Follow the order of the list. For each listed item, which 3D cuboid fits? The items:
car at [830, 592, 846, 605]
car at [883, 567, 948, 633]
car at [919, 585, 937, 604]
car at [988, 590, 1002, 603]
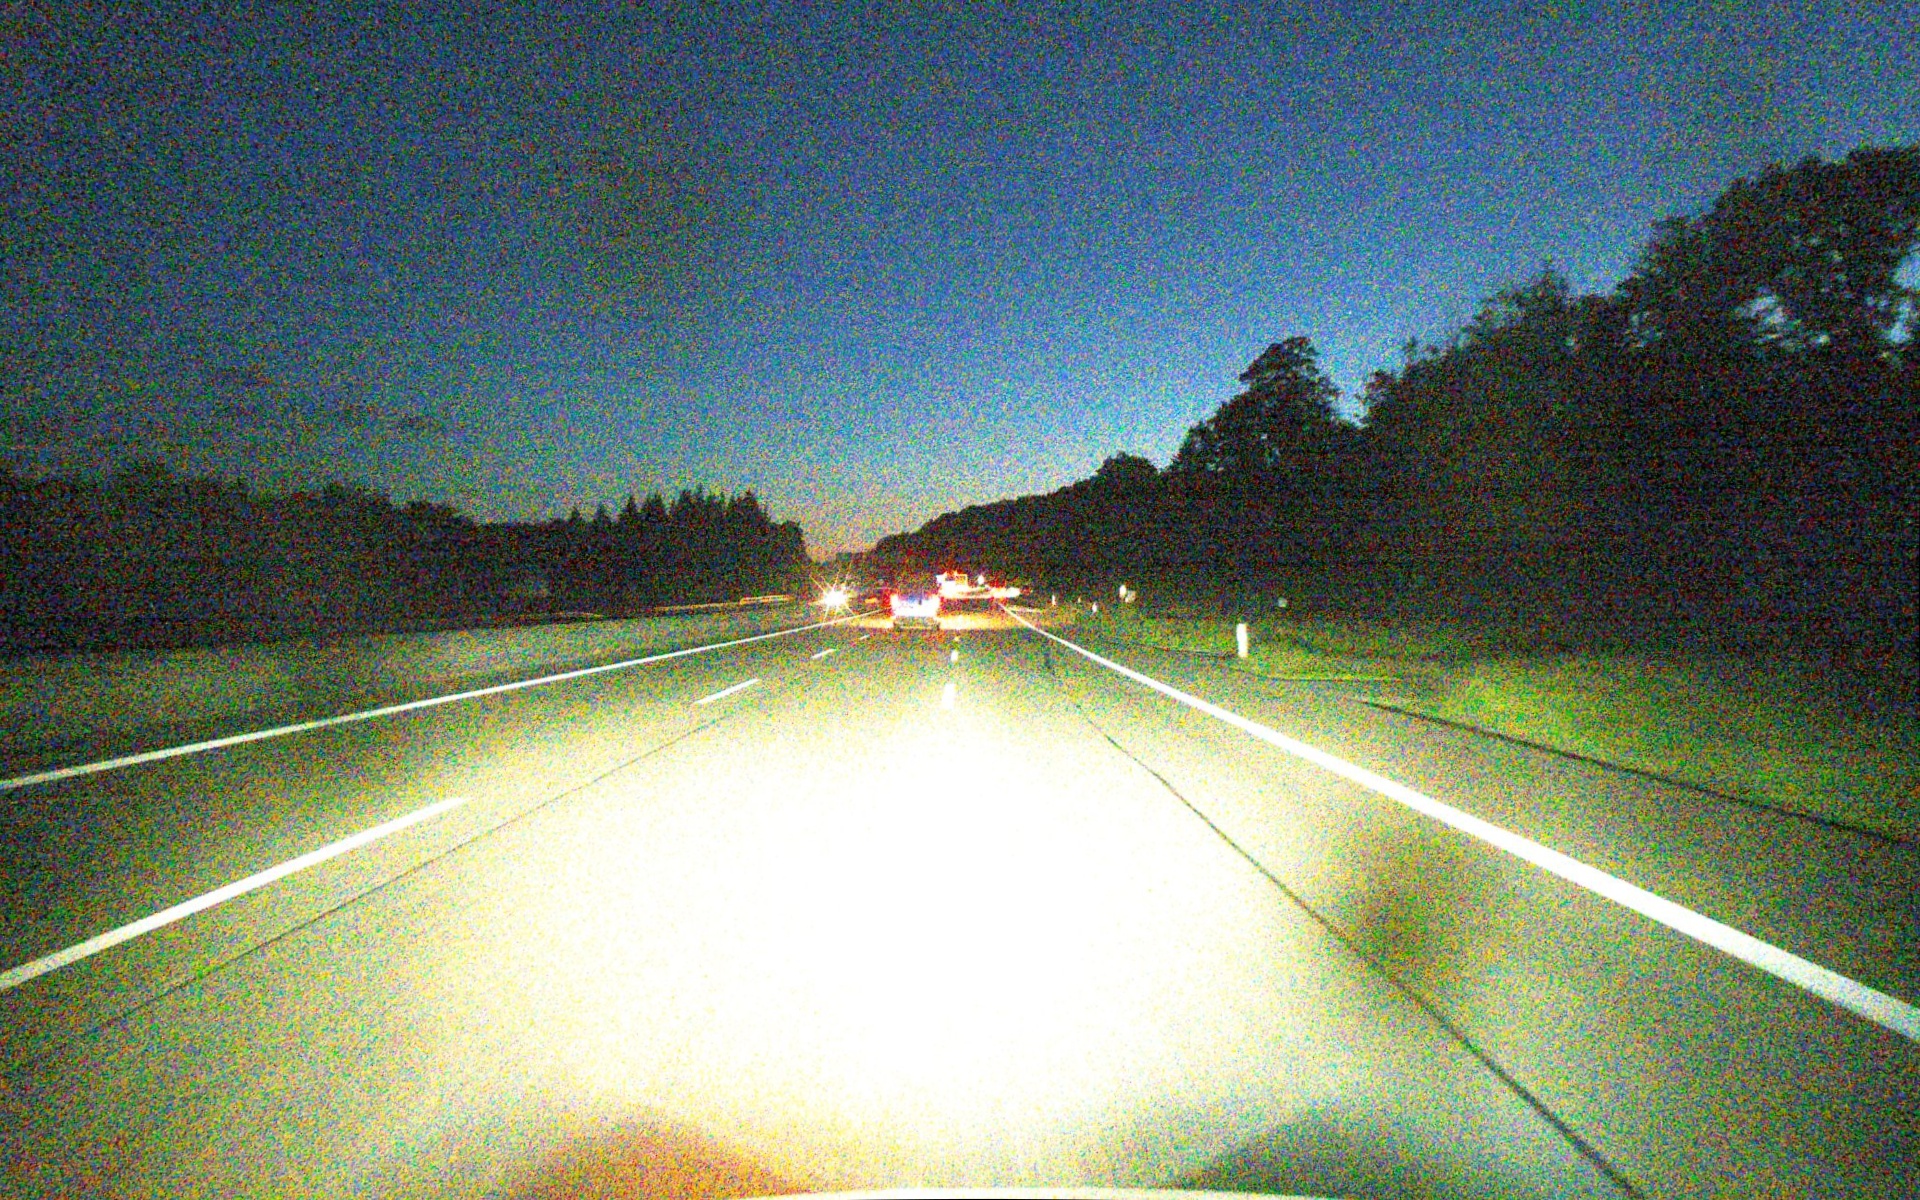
[{"bbox_3d":[-16.286,-0.228,220.823,1.893,1.632,4.953,-1,0,-1],"label":"car"},{"bbox_3d":[-1.909,-0.016,73.418,2.729,2.781,6.299,0,0,0],"label":"car"},{"bbox_3d":[-5.007,-0.790,255.815,2.730,2.781,6.296,0,-1,-1],"label":"car"},{"bbox_3d":[4.757,-0.446,225.322,1.806,1.668,4.000,0,1,-1],"label":"car"}]
